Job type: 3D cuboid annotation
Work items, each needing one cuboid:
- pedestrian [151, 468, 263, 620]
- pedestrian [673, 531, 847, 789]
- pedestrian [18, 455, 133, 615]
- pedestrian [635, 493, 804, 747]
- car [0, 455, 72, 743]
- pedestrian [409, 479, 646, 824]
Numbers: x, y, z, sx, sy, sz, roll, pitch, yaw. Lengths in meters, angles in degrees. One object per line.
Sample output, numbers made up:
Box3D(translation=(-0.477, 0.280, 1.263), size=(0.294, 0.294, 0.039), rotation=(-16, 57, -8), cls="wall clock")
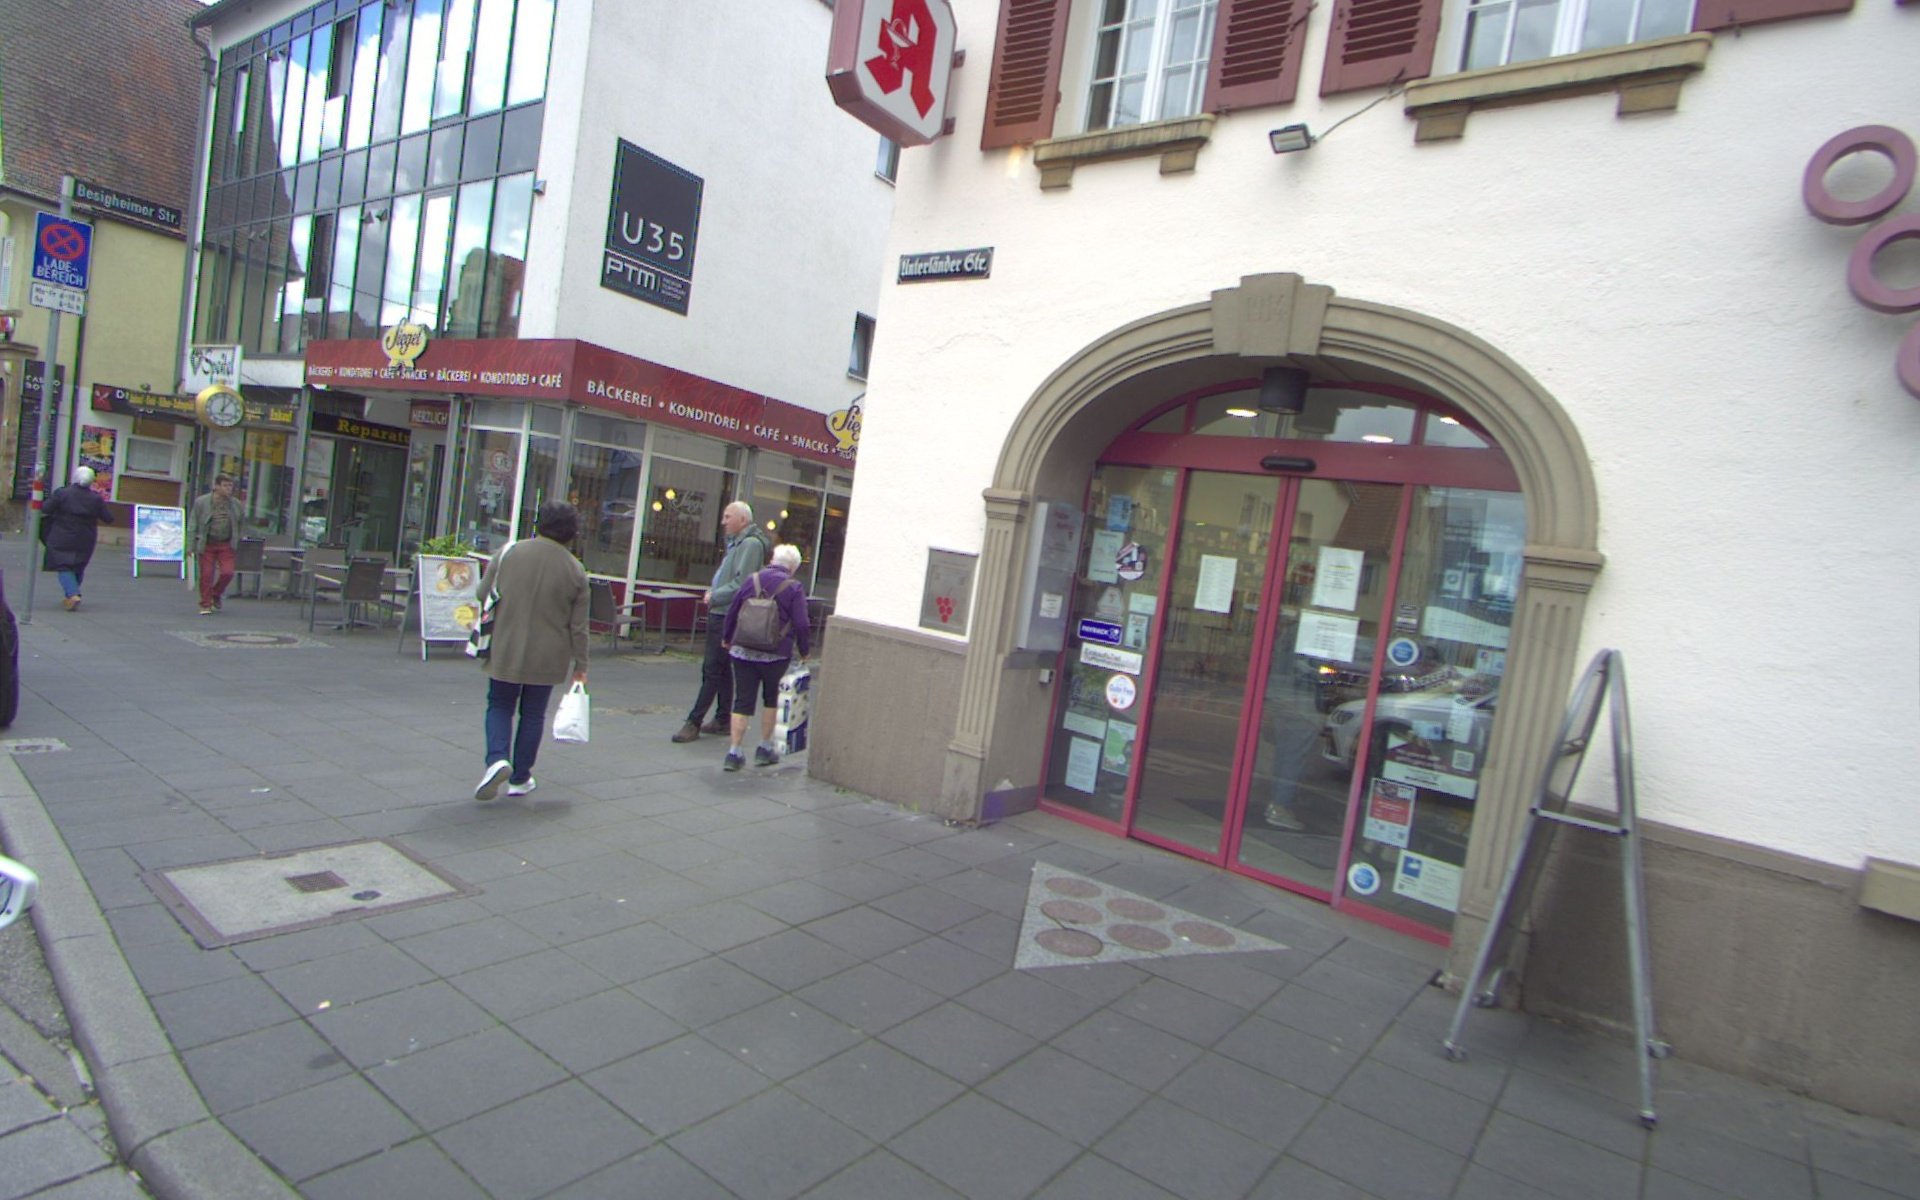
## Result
Box3D(translation=(-9.267, -0.684, 12.383), size=(0.932, 1.729, 0.861), rotation=(8, 2, 43), cls="pedestrian")
Box3D(translation=(-1.334, 0.362, 6.680), size=(0.797, 1.552, 0.721), rotation=(8, 5, 43), cls="pedestrian")
Box3D(translation=(-10.024, -0.727, 11.401), size=(0.791, 1.687, 0.822), rotation=(8, 2, 43), cls="pedestrian")
Box3D(translation=(-1.833, 0.140, 7.686), size=(0.805, 1.792, 0.773), rotation=(7, 2, 39), cls="pedestrian")
Box3D(translation=(-7.148, -0.220, 6.185), size=(3.894, 1.575, 1.801), rotation=(7, 2, 38), cls="car")
Box3D(translation=(-2.330, 0.243, 5.413), size=(0.858, 1.667, 0.770), rotation=(8, 2, 43), cls="pedestrian")
